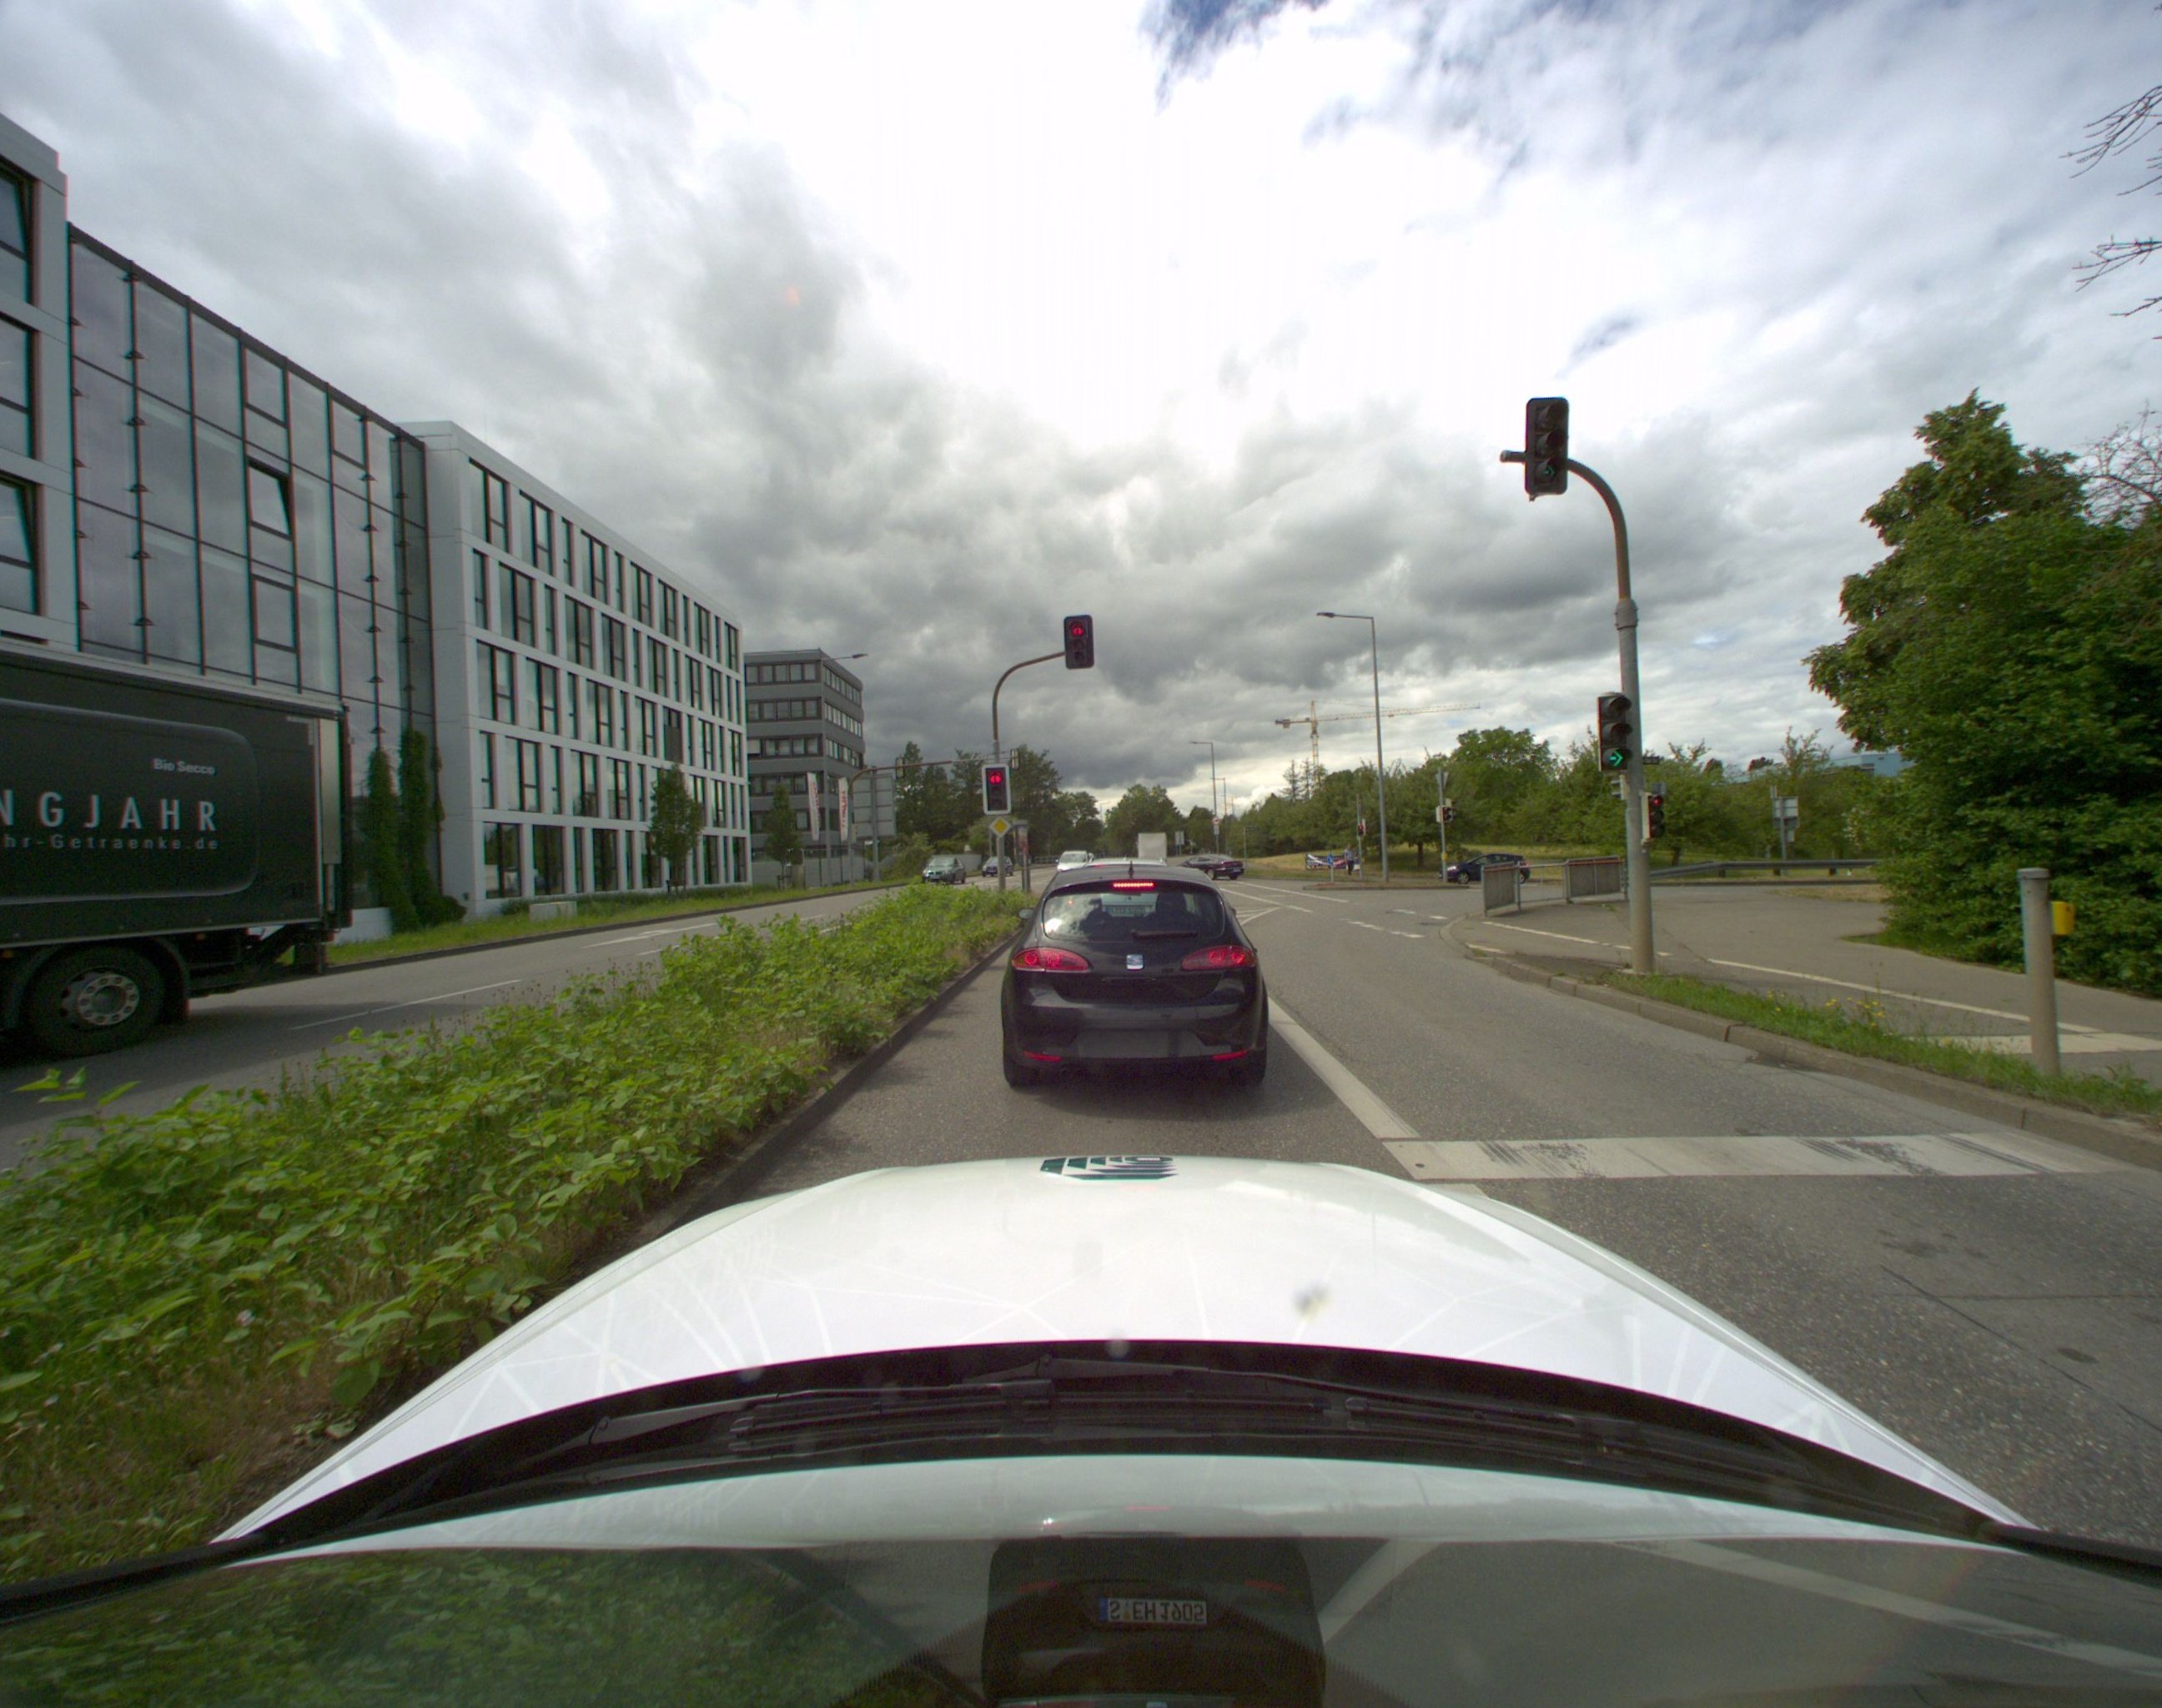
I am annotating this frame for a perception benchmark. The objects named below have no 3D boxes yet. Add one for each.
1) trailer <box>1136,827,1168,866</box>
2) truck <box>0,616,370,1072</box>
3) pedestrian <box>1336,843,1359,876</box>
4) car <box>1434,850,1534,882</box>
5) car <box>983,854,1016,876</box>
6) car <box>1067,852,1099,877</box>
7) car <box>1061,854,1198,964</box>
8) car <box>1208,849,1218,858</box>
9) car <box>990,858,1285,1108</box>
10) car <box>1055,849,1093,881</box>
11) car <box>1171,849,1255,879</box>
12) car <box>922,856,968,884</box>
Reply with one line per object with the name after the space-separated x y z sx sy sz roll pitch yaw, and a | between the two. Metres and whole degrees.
5.999 -0.592 68.487 2.479 3.073 5.595 0 -1 5 | trailer
-9.949 -0.025 4.636 3.156 3.517 9.529 -2 0 1 | truck
14.666 0.320 44.887 0.720 1.793 1.037 0 -1 -17 | pedestrian
18.865 0.567 38.272 3.855 1.446 1.765 -1 -1 10 | car
-5.718 0.774 57.550 1.546 1.419 3.902 -1 0 5 | car
0.190 0.646 52.438 1.652 1.518 4.091 -1 0 6 | car
0.747 0.749 12.813 1.827 1.467 3.754 0 0 3 | car
26.427 -0.072 162.643 1.656 1.596 4.014 -1 -1 13 | car
0.387 0.763 6.477 1.704 1.417 3.461 -1 0 2 | car
-0.359 0.598 46.369 1.812 1.686 4.650 0 0 4 | car
7.292 0.551 45.232 2.009 1.565 4.421 -1 0 -37 | car
-7.286 0.835 43.866 1.598 1.432 3.757 -1 0 4 | car
